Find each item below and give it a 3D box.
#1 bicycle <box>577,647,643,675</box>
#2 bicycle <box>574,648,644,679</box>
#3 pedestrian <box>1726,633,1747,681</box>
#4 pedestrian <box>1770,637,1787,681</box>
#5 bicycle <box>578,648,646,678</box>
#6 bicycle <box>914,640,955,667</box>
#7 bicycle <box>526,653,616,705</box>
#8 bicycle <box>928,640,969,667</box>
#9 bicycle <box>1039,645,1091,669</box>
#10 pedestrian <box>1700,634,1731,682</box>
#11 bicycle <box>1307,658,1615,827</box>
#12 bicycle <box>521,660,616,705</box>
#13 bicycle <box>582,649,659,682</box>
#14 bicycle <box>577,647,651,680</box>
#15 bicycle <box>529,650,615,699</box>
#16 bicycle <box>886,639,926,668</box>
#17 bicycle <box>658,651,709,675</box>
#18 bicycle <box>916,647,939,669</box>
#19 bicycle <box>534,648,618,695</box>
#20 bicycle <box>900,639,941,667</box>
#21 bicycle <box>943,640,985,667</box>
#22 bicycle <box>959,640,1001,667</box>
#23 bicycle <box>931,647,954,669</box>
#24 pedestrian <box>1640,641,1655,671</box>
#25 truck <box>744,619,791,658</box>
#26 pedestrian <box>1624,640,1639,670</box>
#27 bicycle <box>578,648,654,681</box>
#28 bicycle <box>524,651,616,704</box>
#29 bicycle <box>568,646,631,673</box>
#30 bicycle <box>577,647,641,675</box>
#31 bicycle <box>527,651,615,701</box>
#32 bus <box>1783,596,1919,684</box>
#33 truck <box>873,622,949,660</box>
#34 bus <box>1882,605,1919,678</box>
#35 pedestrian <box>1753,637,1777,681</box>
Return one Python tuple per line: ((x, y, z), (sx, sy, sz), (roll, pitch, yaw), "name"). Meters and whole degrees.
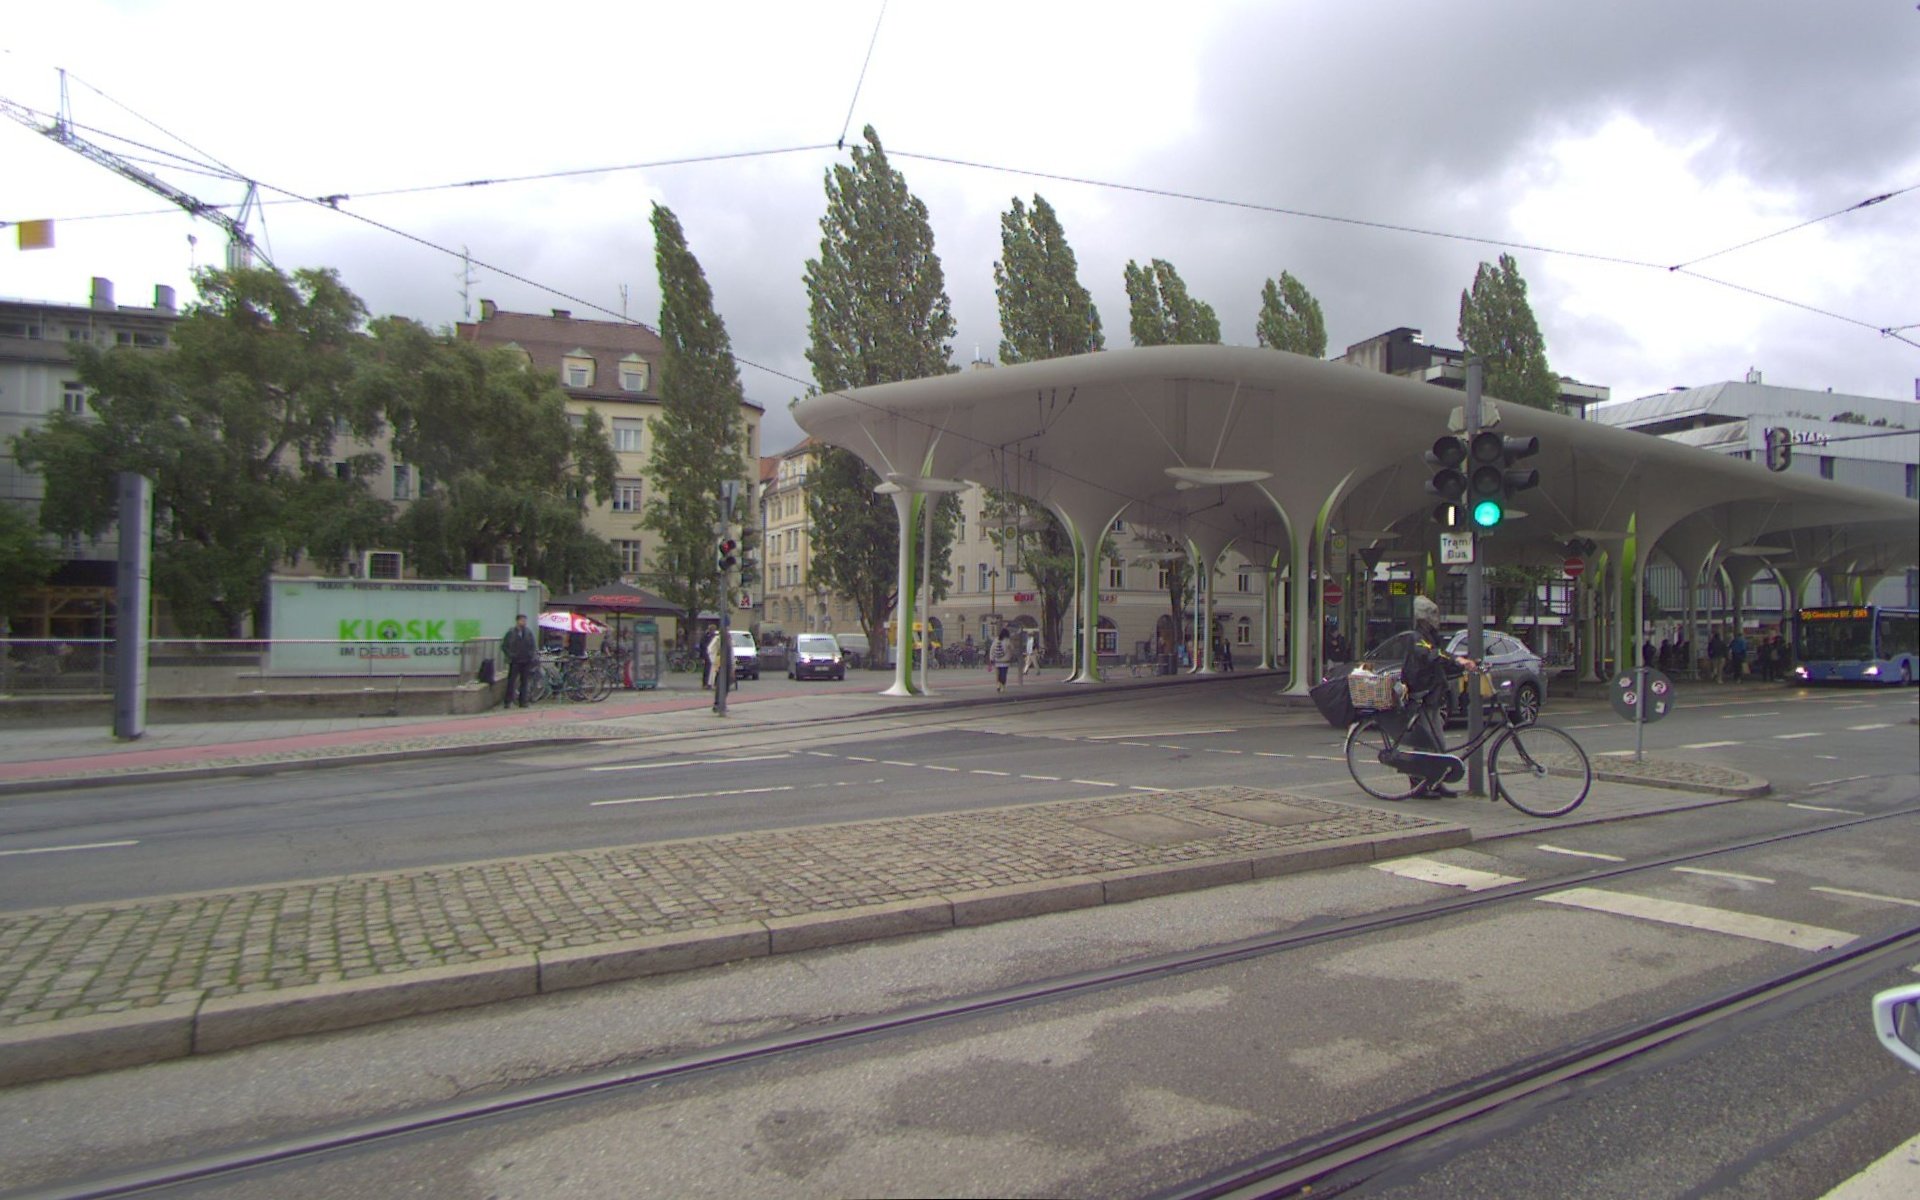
((-14.597, 2.543, 41.936), (2.494, 1.145, 0.639), (2, -2, -30), "bicycle")
((-13.608, 2.457, 38.973), (2.494, 1.144, 0.639), (2, -2, -30), "bicycle")
((29.241, 2.144, 37.838), (0.558, 1.766, 0.752), (-1, -2, 41), "pedestrian")
((31.166, 2.241, 38.238), (0.387, 1.626, 0.390), (2, -2, -35), "pedestrian")
((-13.806, 2.474, 39.887), (2.494, 1.145, 0.639), (2, -2, -30), "bicycle")
((-1.603, 3.327, 62.916), (0.989, 1.634, 3.597), (1, -2, -29), "bicycle")
((-8.611, 1.737, 22.291), (1.819, 1.110, 0.478), (1, -2, -17), "bicycle")
((-0.754, 3.351, 63.465), (0.989, 1.634, 3.597), (1, -2, -29), "bicycle")
((6.015, 3.275, 57.720), (2.886, 1.331, 0.841), (1, -2, -6), "bicycle")
((27.985, 2.144, 37.205), (0.874, 1.744, 0.708), (2, -2, -39), "pedestrian")
((4.053, 1.112, 8.281), (2.190, 1.165, 0.506), (1, -1, 26), "bicycle")
((-8.230, 1.733, 21.160), (1.823, 0.906, 0.478), (1, -2, -23), "bicycle")
((-12.012, 2.307, 35.556), (2.494, 1.145, 0.639), (2, -2, -30), "bicycle")
((-12.773, 2.335, 37.148), (2.494, 1.145, 0.639), (2, -2, -30), "bicycle")
((-9.035, 1.724, 23.442), (1.819, 1.110, 0.478), (1, -2, -17), "bicycle")
((-3.374, 3.277, 62.002), (0.989, 1.634, 3.597), (1, -2, -29), "bicycle")
((-13.766, 3.125, 50.027), (2.395, 1.143, 0.818), (1, -2, -21), "bicycle")
((-1.858, 3.258, 56.697), (0.727, 1.149, 2.677), (1, -2, -15), "bicycle")
((-9.218, 1.718, 24.169), (1.819, 1.110, 0.478), (1, -2, -17), "bicycle")
((-2.475, 3.303, 62.511), (0.989, 1.634, 3.597), (1, -2, -29), "bicycle")
((0.228, 3.379, 63.960), (0.989, 1.634, 3.597), (1, -2, -29), "bicycle")
((1.251, 3.408, 64.618), (0.989, 1.634, 3.597), (1, -2, -29), "bicycle")
((-1.009, 3.282, 57.199), (0.727, 1.149, 2.677), (1, -2, -15), "bicycle")
((37.693, 3.068, 55.054), (0.543, 1.632, 0.568), (2, -2, -39), "pedestrian")
((-13.792, 2.733, 71.619), (2.259, 2.657, 5.324), (1, -2, -22), "truck")
((37.315, 3.057, 55.823), (0.543, 1.632, 0.568), (2, -2, -39), "pedestrian")
((-12.357, 2.323, 36.134), (2.494, 1.145, 0.639), (2, -2, -30), "bicycle")
((-8.400, 1.655, 21.688), (1.821, 1.110, 0.478), (1, -2, -20), "bicycle")
((-15.680, 2.577, 43.758), (2.494, 1.145, 0.639), (2, -2, -30), "bicycle")
((-14.989, 2.602, 42.926), (2.494, 1.144, 0.639), (2, -2, -30), "bicycle")
((-8.858, 1.729, 22.948), (1.819, 1.110, 0.478), (1, -2, -17), "bicycle")
((35.589, 1.597, 38.800), (10.400, 3.046, 2.646), (2, -4, -32), "bus")
((-3.640, 2.937, 72.467), (2.413, 2.546, 7.125), (1, -2, -31), "truck")
((43.167, 1.811, 43.513), (7.427, 3.046, 2.648), (2, -4, -31), "bus")
((32.108, 2.354, 40.084), (0.561, 1.756, 0.507), (0, -2, 12), "pedestrian")
